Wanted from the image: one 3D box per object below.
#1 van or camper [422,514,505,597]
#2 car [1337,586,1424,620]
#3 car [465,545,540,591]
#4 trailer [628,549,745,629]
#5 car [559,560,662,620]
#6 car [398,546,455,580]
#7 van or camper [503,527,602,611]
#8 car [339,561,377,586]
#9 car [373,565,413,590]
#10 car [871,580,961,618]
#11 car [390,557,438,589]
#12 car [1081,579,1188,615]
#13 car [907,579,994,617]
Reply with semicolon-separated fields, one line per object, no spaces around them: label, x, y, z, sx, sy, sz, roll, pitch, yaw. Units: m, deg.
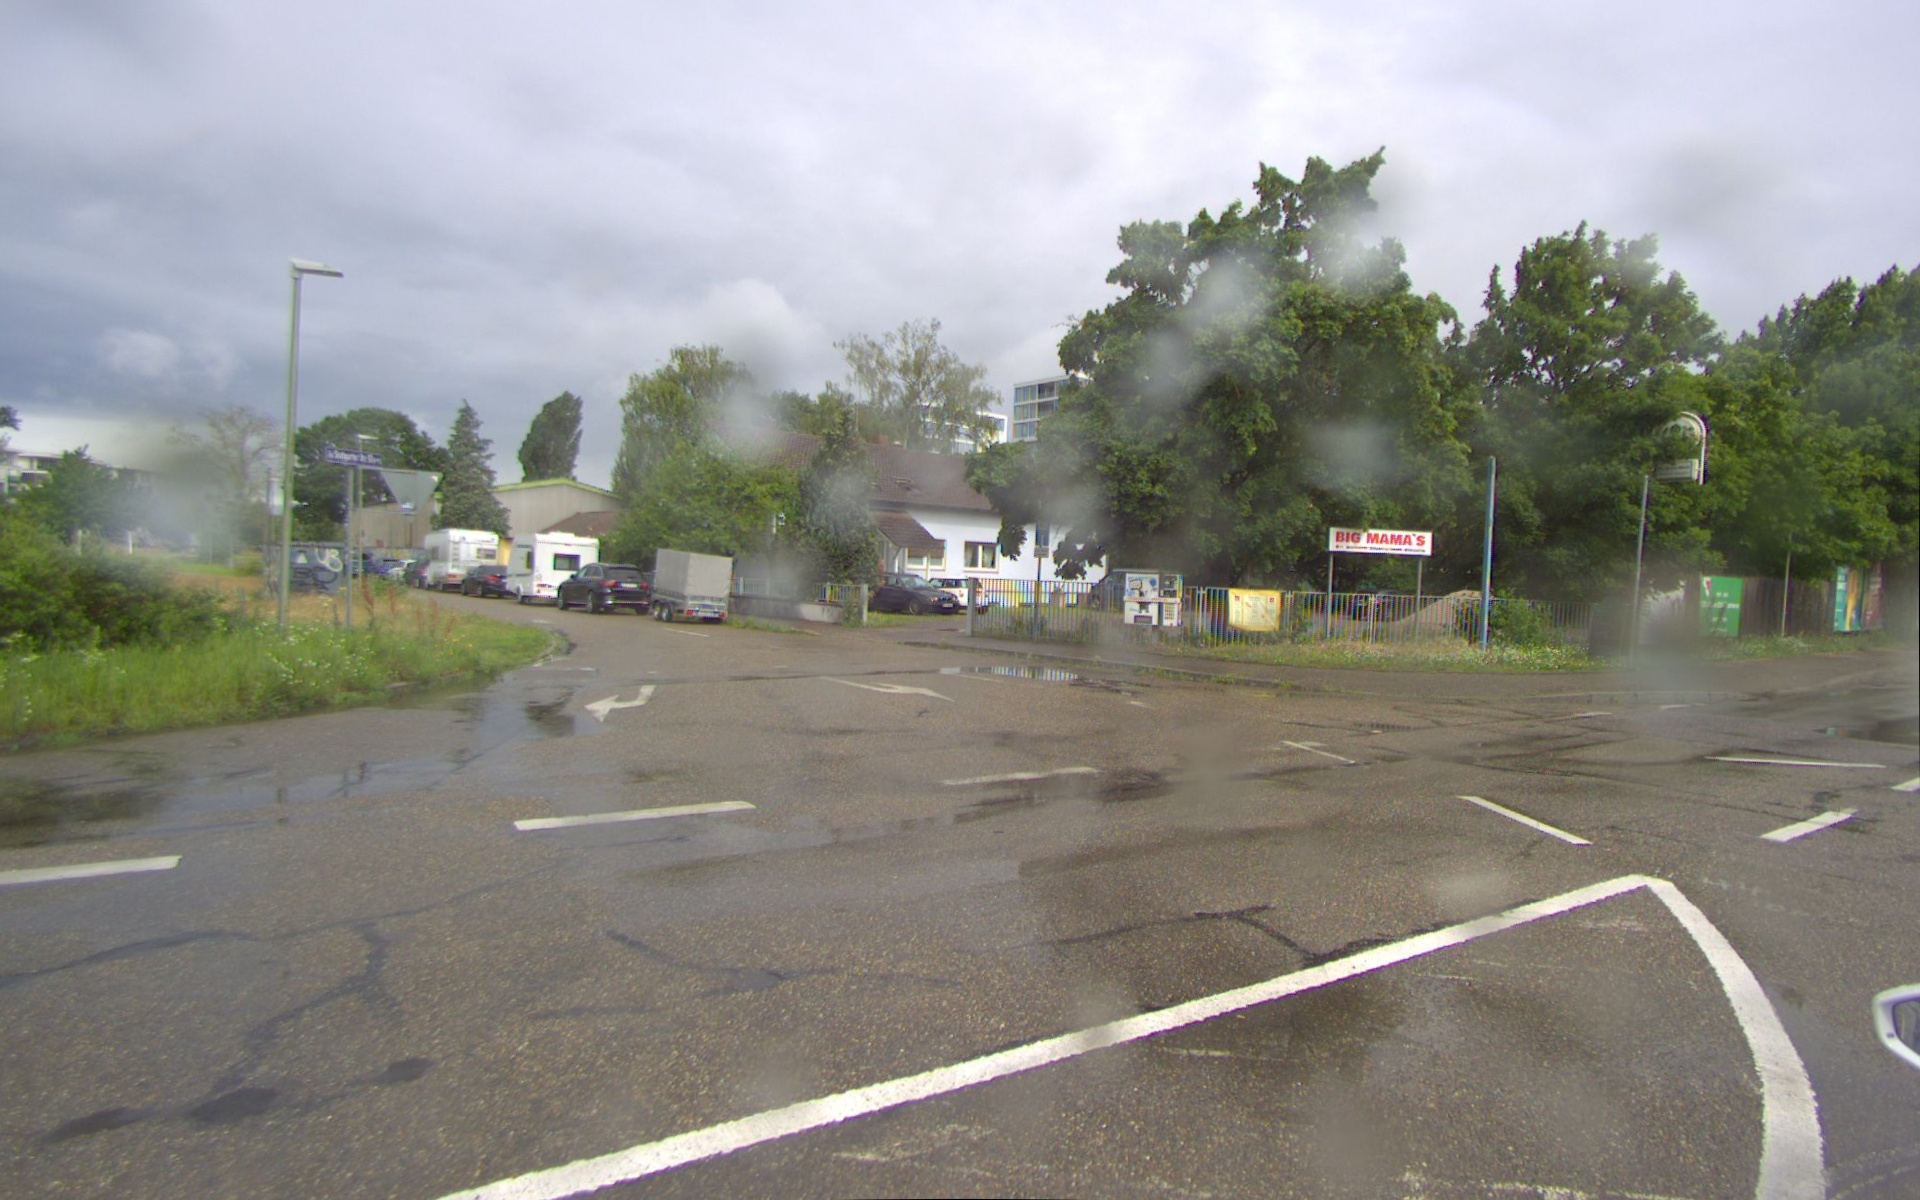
van or camper;-24.687;-2.172;49.791;2.630;3.794;5.788;1;2;-37
car;19.730;0.154;47.056;4.509;1.437;1.976;1;1;-41
car;-19.529;-1.377;42.754;1.981;1.799;4.471;1;2;-37
trailer;-8.264;-0.362;30.127;1.829;2.117;4.066;1;3;-39
car;-11.699;-0.374;33.467;1.981;1.799;4.471;1;2;-37
car;-28.817;-2.027;54.199;1.983;1.706;3.954;1;2;-39
van or camper;-15.703;-1.180;38.574;2.461;2.985;4.467;1;2;-37
car;-43.556;-1.907;72.644;1.637;1.662;3.951;1;2;-41
car;-35.734;-1.425;63.235;1.630;1.417;3.956;1;2;-37
car;-1.640;-0.043;36.615;1.650;1.224;3.348;1;1;-37
car;-31.887;-1.598;58.585;1.864;1.726;3.956;1;2;-37
car;7.659;-0.152;44.487;1.981;1.437;4.496;1;1;-37
car;-0.423;-0.098;39.082;1.376;1.333;3.882;1;1;-36
